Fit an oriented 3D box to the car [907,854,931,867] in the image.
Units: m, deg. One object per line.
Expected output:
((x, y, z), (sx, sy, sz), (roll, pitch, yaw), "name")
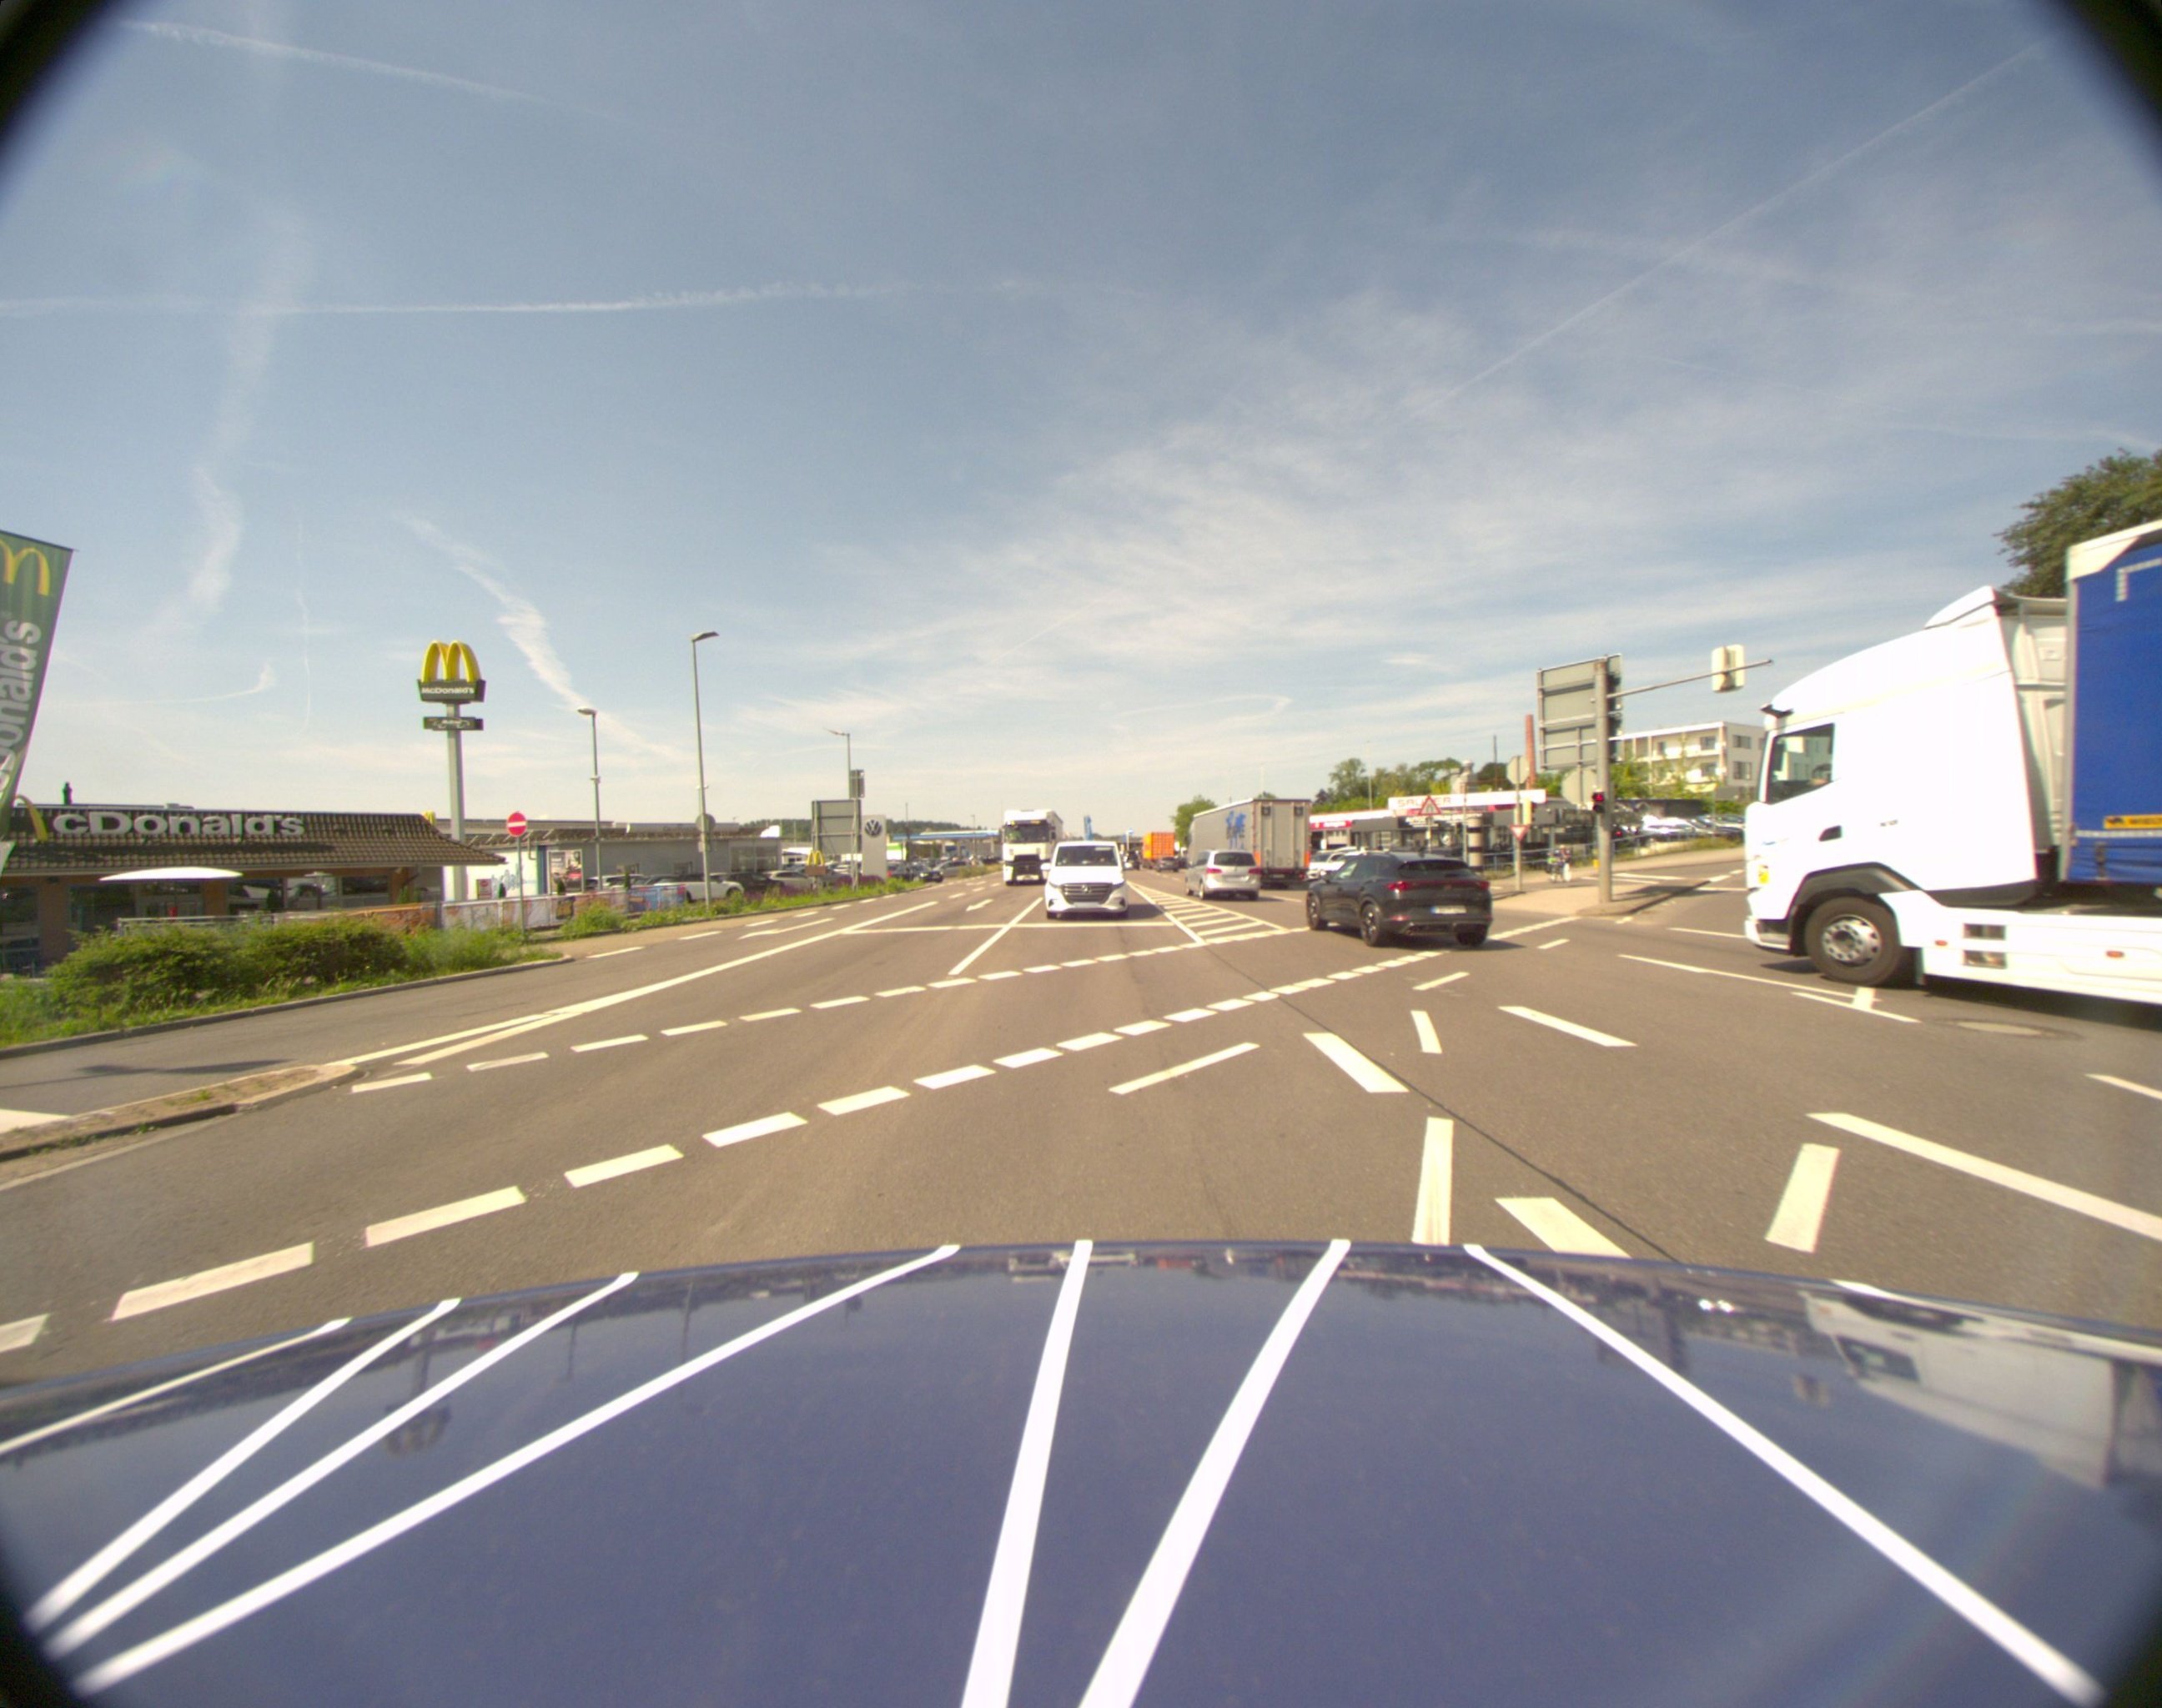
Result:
((-21.578, 0.901, 101.361), (1.774, 1.645, 4.540), (-1, 0, 7), "car")

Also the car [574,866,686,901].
((-24.346, 1.545, 41.202), (1.907, 1.661, 4.828), (0, 1, 37), "car")

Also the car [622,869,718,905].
((-20.867, 1.630, 38.714), (1.771, 1.661, 3.918), (0, 1, 37), "car")

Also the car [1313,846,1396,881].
((14.775, 0.498, 40.921), (4.724, 1.504, 1.950), (-5, 2, -39), "car")

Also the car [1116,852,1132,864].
((5.530, 0.551, 97.746), (1.866, 1.515, 4.588), (0, 0, 0), "car")

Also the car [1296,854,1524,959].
((5.456, 0.771, 13.362), (1.999, 1.476, 4.453), (-1, 0, -2), "car")

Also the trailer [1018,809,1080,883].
((-1.821, -0.510, 48.958), (2.612, 4.203, 11.295), (-1, 0, 5), "trailer")

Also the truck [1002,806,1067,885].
((-2.408, -0.464, 41.522), (2.646, 3.963, 6.043), (-1, 1, 5), "truck")

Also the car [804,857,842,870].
((-32.024, 1.159, 94.441), (1.818, 1.574, 4.545), (0, 0, 23), "car")

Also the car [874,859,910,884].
((-13.937, 1.288, 55.922), (1.778, 1.645, 4.068), (-3, 1, -24), "car")

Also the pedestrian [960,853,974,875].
((-10.343, 0.895, 68.963), (0.990, 1.900, 0.742), (-1, 1, -33), "pedestrian")

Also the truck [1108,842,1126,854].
((8.969, -1.530, 190.284), (2.446, 2.820, 6.031), (-1, 1, -20), "truck")

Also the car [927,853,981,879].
((-11.173, 1.038, 67.039), (4.355, 2.200, 1.759), (-1, 1, -28), "car")

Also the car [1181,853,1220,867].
((12.787, 0.592, 81.445), (3.996, 1.443, 1.946), (-1, 1, 2), "car")

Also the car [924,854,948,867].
((-19.186, 0.881, 100.696), (1.774, 1.645, 4.540), (-1, 0, 7), "car")

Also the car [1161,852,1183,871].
((8.265, 0.684, 69.015), (1.925, 1.593, 4.591), (1, 0, 7), "car")

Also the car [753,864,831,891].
((-17.865, 1.442, 47.144), (1.744, 1.483, 4.273), (0, 1, 37), "car")

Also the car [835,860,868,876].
((-25.383, 1.527, 84.132), (1.774, 1.645, 4.540), (-1, 0, 6), "car")

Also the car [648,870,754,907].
((-18.558, 1.629, 37.279), (1.855, 1.567, 4.242), (0, 1, 37), "car")

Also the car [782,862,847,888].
((-19.175, 1.473, 54.642), (4.007, 1.661, 1.916), (-1, 1, -36), "car")

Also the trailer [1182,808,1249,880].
((8.069, -0.586, 46.369), (2.653, 4.081, 6.178), (-1, 1, -3), "trailer")

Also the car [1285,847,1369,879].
((14.116, 0.500, 43.489), (4.723, 1.467, 1.888), (-5, 2, -32), "car")

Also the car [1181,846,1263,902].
((4.776, 0.642, 26.367), (1.848, 1.722, 4.588), (-2, 0, -1), "car")

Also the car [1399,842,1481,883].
((17.515, 0.398, 36.991), (4.750, 1.616, 1.885), (-5, 2, -42), "car")

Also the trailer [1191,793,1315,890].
((8.389, -0.589, 39.572), (2.699, 4.123, 13.874), (-1, 0, -3), "trailer")

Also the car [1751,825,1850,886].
((22.217, 0.006, 23.403), (4.644, 1.519, 1.910), (-5, 2, -43), "car")

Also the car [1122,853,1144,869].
((5.391, 0.714, 79.062), (1.913, 1.593, 4.588), (1, 0, -1), "car")

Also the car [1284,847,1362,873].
((15.353, 0.422, 48.391), (4.333, 1.478, 1.802), (-3, 0, 44), "car")

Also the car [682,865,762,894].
((-21.451, 1.488, 45.536), (1.771, 1.509, 3.968), (0, 1, 37), "car")

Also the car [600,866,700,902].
((-22.531, 1.535, 39.894), (1.771, 1.661, 4.178), (0, 1, 37), "car")

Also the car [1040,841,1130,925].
((0.140, 0.640, 19.892), (1.993, 1.858, 5.803), (-1, 0, 1), "car")

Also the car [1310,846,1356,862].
((25.542, -0.004, 77.021), (4.002, 1.597, 1.986), (-1, 1, -14), "car")

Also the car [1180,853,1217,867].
((12.866, 0.609, 83.506), (3.877, 1.490, 1.949), (-1, 1, 3), "car")

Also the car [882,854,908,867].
((-26.295, 0.910, 107.571), (1.773, 1.645, 4.541), (0, 0, 10), "car")

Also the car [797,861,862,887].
((-17.518, 1.389, 52.893), (4.031, 1.661, 1.772), (-1, 1, -29), "car")

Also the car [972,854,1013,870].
((-9.619, 0.854, 82.337), (4.006, 1.645, 1.772), (-1, 1, -31), "car")

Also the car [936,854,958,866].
((-18.740, 0.865, 106.399), (1.774, 1.571, 4.540), (-1, 0, 7), "car")

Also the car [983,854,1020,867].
((-10.518, 0.797, 100.124), (4.544, 1.645, 1.772), (-1, 1, -25), "car")

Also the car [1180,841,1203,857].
((18.574, -0.816, 127.596), (2.435, 2.529, 6.050), (-1, 0, 21), "car")

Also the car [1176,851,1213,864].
((13.292, 0.423, 88.989), (3.974, 1.484, 1.739), (-1, 1, -1), "car")

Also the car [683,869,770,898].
((-20.256, 1.670, 43.576), (1.791, 1.442, 4.163), (0, 1, 37), "car")

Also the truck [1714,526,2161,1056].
((9.853, -0.501, 6.684), (3.196, 4.056, 6.344), (-1, 1, -1), "truck")

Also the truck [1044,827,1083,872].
((-1.507, -0.452, 71.779), (2.646, 3.963, 9.242), (-1, 0, 5), "truck")

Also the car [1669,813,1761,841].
((38.578, -1.619, 46.321), (2.003, 1.554, 4.059), (-4, 3, -42), "car")

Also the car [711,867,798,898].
((-18.206, 1.568, 42.463), (1.771, 1.523, 4.098), (0, 1, 37), "car")

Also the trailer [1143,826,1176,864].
((8.853, -0.991, 86.985), (2.727, 3.975, 12.234), (-1, 0, 1), "trailer")

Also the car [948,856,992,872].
((-11.113, 0.974, 75.970), (4.005, 1.549, 1.709), (-1, 1, -27), "car")

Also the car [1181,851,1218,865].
((13.424, 0.434, 85.980), (3.996, 1.474, 1.756), (-1, 1, 4), "car")

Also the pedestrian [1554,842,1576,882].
((19.018, 0.328, 29.871), (0.385, 1.525, 0.494), (-6, 1, -38), "pedestrian")

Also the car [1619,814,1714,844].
((33.840, -1.446, 43.959), (2.003, 1.554, 4.059), (-4, 3, -42), "car")

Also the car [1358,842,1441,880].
((16.498, 0.342, 39.276), (4.805, 1.617, 1.927), (-5, 3, -40), "car")

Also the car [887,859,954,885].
((-10.662, 1.237, 50.285), (1.969, 1.325, 4.804), (-7, 2, -44), "car")

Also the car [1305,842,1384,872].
((17.283, 0.220, 49.973), (1.896, 1.738, 4.457), (-2, 0, -42), "car")
